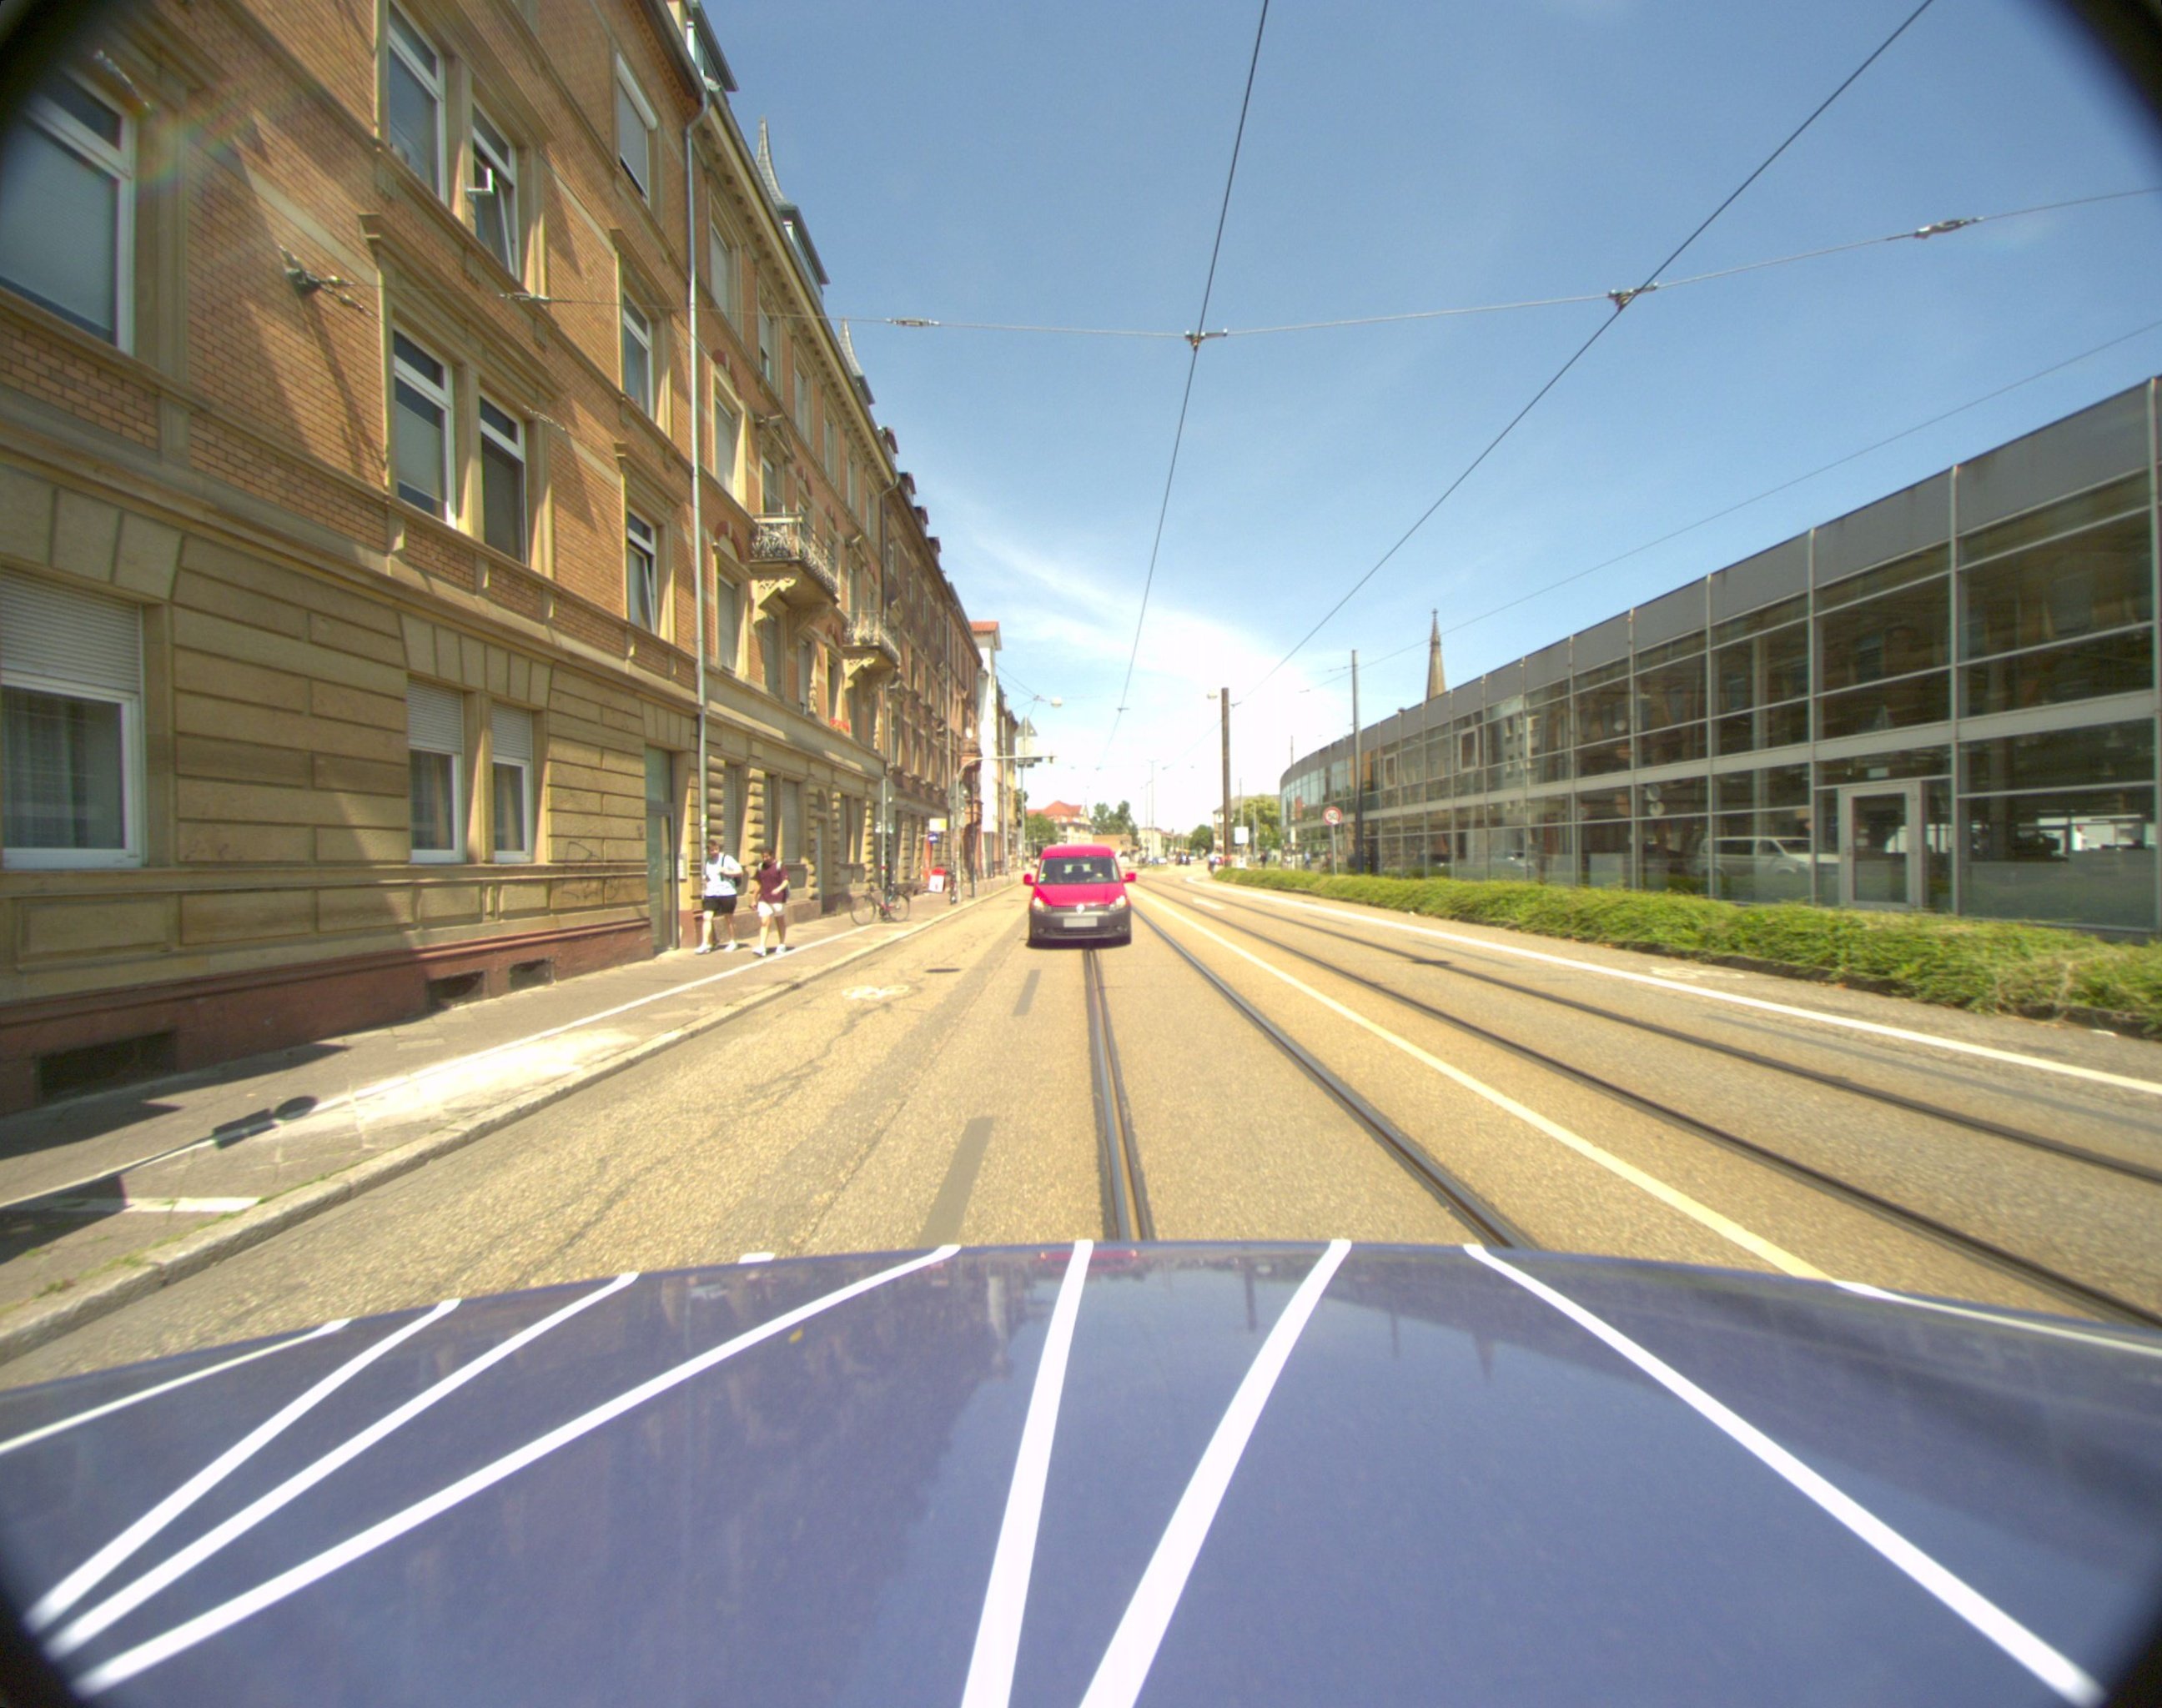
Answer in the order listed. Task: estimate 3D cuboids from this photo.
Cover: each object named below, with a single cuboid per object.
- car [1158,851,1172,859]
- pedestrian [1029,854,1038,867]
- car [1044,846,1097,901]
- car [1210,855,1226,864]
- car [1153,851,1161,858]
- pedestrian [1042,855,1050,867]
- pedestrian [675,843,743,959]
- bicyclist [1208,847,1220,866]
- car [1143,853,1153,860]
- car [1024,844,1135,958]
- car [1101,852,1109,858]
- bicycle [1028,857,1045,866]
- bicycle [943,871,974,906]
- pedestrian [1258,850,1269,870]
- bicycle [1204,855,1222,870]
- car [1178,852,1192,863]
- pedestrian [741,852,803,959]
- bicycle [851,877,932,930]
[{"bbox_3d":[16.011,0.196,145.130,1.998,1.521,5.131,1,0,0],"label":"car"},{"bbox_3d":[-6.742,0.885,107.700,0.826,1.765,0.812,-2,2,-44],"label":"pedestrian"},{"bbox_3d":[-0.404,0.708,29.219,1.874,1.954,3.823,-1,0,-1],"label":"car"},{"bbox_3d":[21.867,0.915,121.400,1.762,1.359,4.289,-1,0,2],"label":"car"},{"bbox_3d":[17.763,0.124,177.511,1.552,1.527,3.679,-1,0,0],"label":"car"},{"bbox_3d":[-5.212,1.023,112.676,0.808,1.769,0.876,-1,1,32],"label":"pedestrian"},{"bbox_3d":[-6.103,0.754,12.487,0.704,1.838,0.643,3,1,1],"label":"pedestrian"},{"bbox_3d":[10.632,0.206,60.909,0.698,1.539,0.982,0,1,27],"label":"bicyclist"},{"bbox_3d":[13.664,0.586,155.680,1.675,1.453,3.903,0,0,0],"label":"car"},{"bbox_3d":[-0.092,0.760,14.290,1.756,1.802,4.096,-1,0,-2],"label":"car"},{"bbox_3d":[5.673,0.268,176.585,1.848,1.471,4.331,0,0,1],"label":"car"},{"bbox_3d":[-6.289,1.000,108.093,2.225,1.243,1.096,-1,0,-44],"label":"bicycle"},{"bbox_3d":[-4.178,1.150,26.129,0.448,1.090,2.424,0,0,5],"label":"bicycle"},{"bbox_3d":[15.686,0.509,65.295,0.729,1.632,0.820,-1,0,4],"label":"pedestrian"},{"bbox_3d":[10.548,0.646,60.791,0.698,1.138,2.500,0,0,27],"label":"bicycle"},{"bbox_3d":[16.659,0.552,122.190,1.826,1.617,4.526,0,0,3],"label":"car"},{"bbox_3d":[-5.053,0.820,12.449,0.722,1.710,0.643,0,1,1],"label":"pedestrian"},{"bbox_3d":[-4.524,1.150,18.293,0.499,1.124,2.247,0,0,29],"label":"bicycle"}]
